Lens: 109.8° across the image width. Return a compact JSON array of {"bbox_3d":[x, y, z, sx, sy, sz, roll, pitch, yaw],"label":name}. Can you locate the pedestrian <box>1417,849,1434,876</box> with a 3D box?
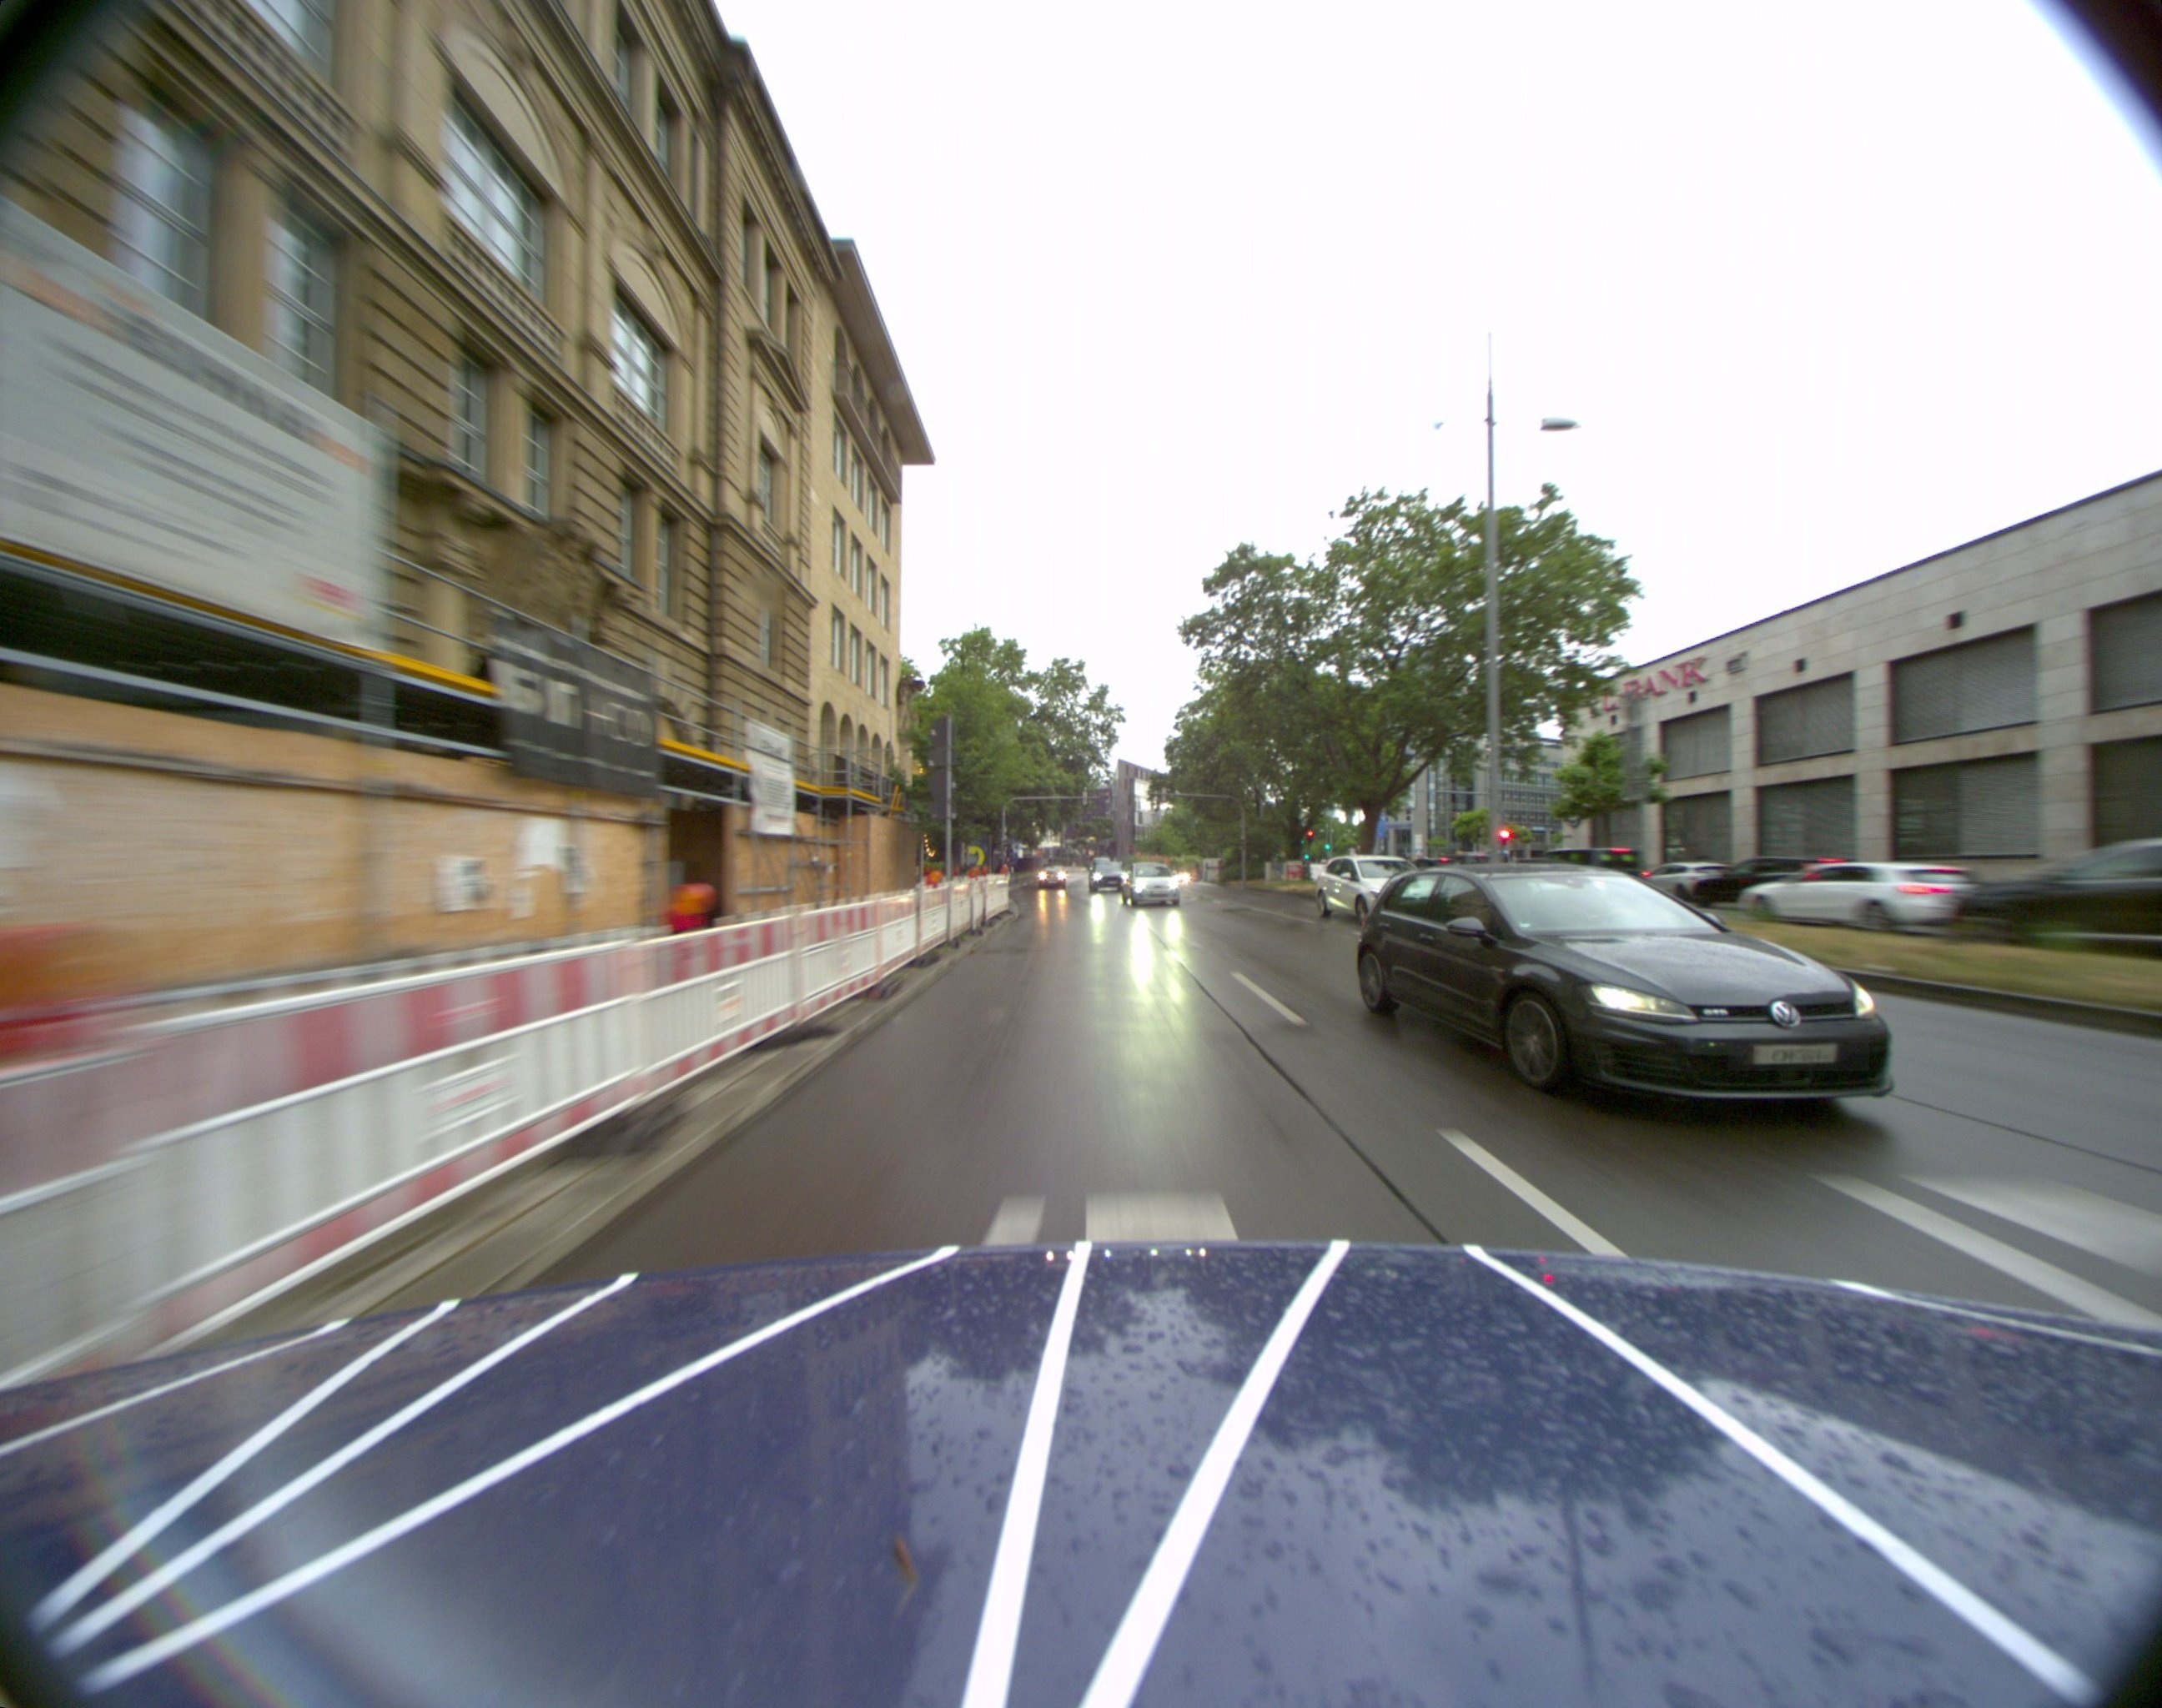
[{"bbox_3d":[20.030,0.492,44.170,0.611,1.604,0.640,-1,0,-30],"label":"pedestrian"}]

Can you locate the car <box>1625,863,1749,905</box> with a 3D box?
[{"bbox_3d":[23.552,1.112,29.743,1.751,1.407,4.295,0,0,6],"label":"car"}]

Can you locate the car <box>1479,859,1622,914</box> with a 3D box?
[{"bbox_3d":[13.964,0.894,22.927,1.864,1.434,4.314,1,1,4],"label":"car"}]

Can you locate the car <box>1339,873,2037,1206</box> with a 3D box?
[{"bbox_3d":[3.550,0.913,5.611,1.789,1.444,4.122,-1,0,-2],"label":"car"}]

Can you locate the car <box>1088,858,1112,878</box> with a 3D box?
[{"bbox_3d":[1.725,1.260,68.081,1.998,1.733,3.910,-1,0,2],"label":"car"}]

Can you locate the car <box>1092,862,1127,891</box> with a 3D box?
[{"bbox_3d":[1.477,1.162,40.562,1.716,1.432,3.494,1,0,0],"label":"car"}]

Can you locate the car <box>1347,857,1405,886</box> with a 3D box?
[{"bbox_3d":[14.991,0.847,38.832,1.751,1.357,4.132,0,0,6],"label":"car"}]

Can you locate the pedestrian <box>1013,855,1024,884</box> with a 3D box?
[{"bbox_3d":[-3.873,0.953,47.182,0.634,1.824,0.563,0,1,5],"label":"pedestrian"}]

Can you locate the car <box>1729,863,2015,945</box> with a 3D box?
[{"bbox_3d":[16.514,0.945,16.271,1.730,1.424,4.396,0,0,4],"label":"car"}]

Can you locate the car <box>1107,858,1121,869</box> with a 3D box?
[{"bbox_3d":[5.330,1.520,122.836,1.997,1.733,3.912,-1,0,8],"label":"car"}]

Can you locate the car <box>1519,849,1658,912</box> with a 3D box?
[{"bbox_3d":[17.492,0.827,26.546,1.835,1.990,5.106,0,1,6],"label":"car"}]

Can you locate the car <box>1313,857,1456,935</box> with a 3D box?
[{"bbox_3d":[7.034,0.905,18.067,1.781,1.587,3.999,0,1,0],"label":"car"}]

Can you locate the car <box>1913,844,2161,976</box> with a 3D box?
[{"bbox_3d":[12.603,0.606,8.501,1.704,1.429,4.583,0,0,3],"label":"car"}]

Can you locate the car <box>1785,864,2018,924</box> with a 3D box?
[{"bbox_3d":[22.739,1.020,21.395,1.751,1.407,4.707,0,0,5],"label":"car"}]

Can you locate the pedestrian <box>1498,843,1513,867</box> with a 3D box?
[{"bbox_3d":[33.959,0.105,60.807,0.589,1.913,1.125,-2,0,1],"label":"pedestrian"}]

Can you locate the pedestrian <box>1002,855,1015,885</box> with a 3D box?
[{"bbox_3d":[-4.421,0.959,46.443,0.592,1.824,0.628,-1,1,-26],"label":"pedestrian"}]

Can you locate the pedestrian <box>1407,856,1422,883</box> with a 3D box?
[{"bbox_3d":[19.643,0.905,44.723,0.449,1.604,0.640,-1,0,-29],"label":"pedestrian"}]

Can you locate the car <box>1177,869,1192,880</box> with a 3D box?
[{"bbox_3d":[13.316,2.628,97.865,1.715,1.432,3.498,-1,-1,11],"label":"car"}]

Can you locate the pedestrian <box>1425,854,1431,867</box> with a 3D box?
[{"bbox_3d":[42.475,0.826,92.955,0.577,1.617,0.564,0,0,41],"label":"pedestrian"}]

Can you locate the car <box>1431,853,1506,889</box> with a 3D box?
[{"bbox_3d":[18.713,0.787,36.893,1.835,1.630,4.093,0,1,6],"label":"car"}]

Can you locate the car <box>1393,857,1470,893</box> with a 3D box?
[{"bbox_3d":[14.591,0.848,31.818,1.751,1.357,3.945,0,1,6],"label":"car"}]

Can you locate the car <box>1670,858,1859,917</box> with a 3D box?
[{"bbox_3d":[20.250,0.910,22.838,1.730,1.523,4.641,0,0,4],"label":"car"}]

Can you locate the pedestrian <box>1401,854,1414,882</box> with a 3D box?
[{"bbox_3d":[19.439,0.834,45.294,0.425,1.604,0.554,-1,0,-18],"label":"pedestrian"}]

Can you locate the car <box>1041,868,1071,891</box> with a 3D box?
[{"bbox_3d":[-1.488,1.495,46.039,1.716,1.274,3.494,0,0,0],"label":"car"}]

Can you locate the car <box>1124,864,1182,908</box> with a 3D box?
[{"bbox_3d":[2.565,1.107,27.698,1.612,1.432,3.494,-2,0,-2],"label":"car"}]
